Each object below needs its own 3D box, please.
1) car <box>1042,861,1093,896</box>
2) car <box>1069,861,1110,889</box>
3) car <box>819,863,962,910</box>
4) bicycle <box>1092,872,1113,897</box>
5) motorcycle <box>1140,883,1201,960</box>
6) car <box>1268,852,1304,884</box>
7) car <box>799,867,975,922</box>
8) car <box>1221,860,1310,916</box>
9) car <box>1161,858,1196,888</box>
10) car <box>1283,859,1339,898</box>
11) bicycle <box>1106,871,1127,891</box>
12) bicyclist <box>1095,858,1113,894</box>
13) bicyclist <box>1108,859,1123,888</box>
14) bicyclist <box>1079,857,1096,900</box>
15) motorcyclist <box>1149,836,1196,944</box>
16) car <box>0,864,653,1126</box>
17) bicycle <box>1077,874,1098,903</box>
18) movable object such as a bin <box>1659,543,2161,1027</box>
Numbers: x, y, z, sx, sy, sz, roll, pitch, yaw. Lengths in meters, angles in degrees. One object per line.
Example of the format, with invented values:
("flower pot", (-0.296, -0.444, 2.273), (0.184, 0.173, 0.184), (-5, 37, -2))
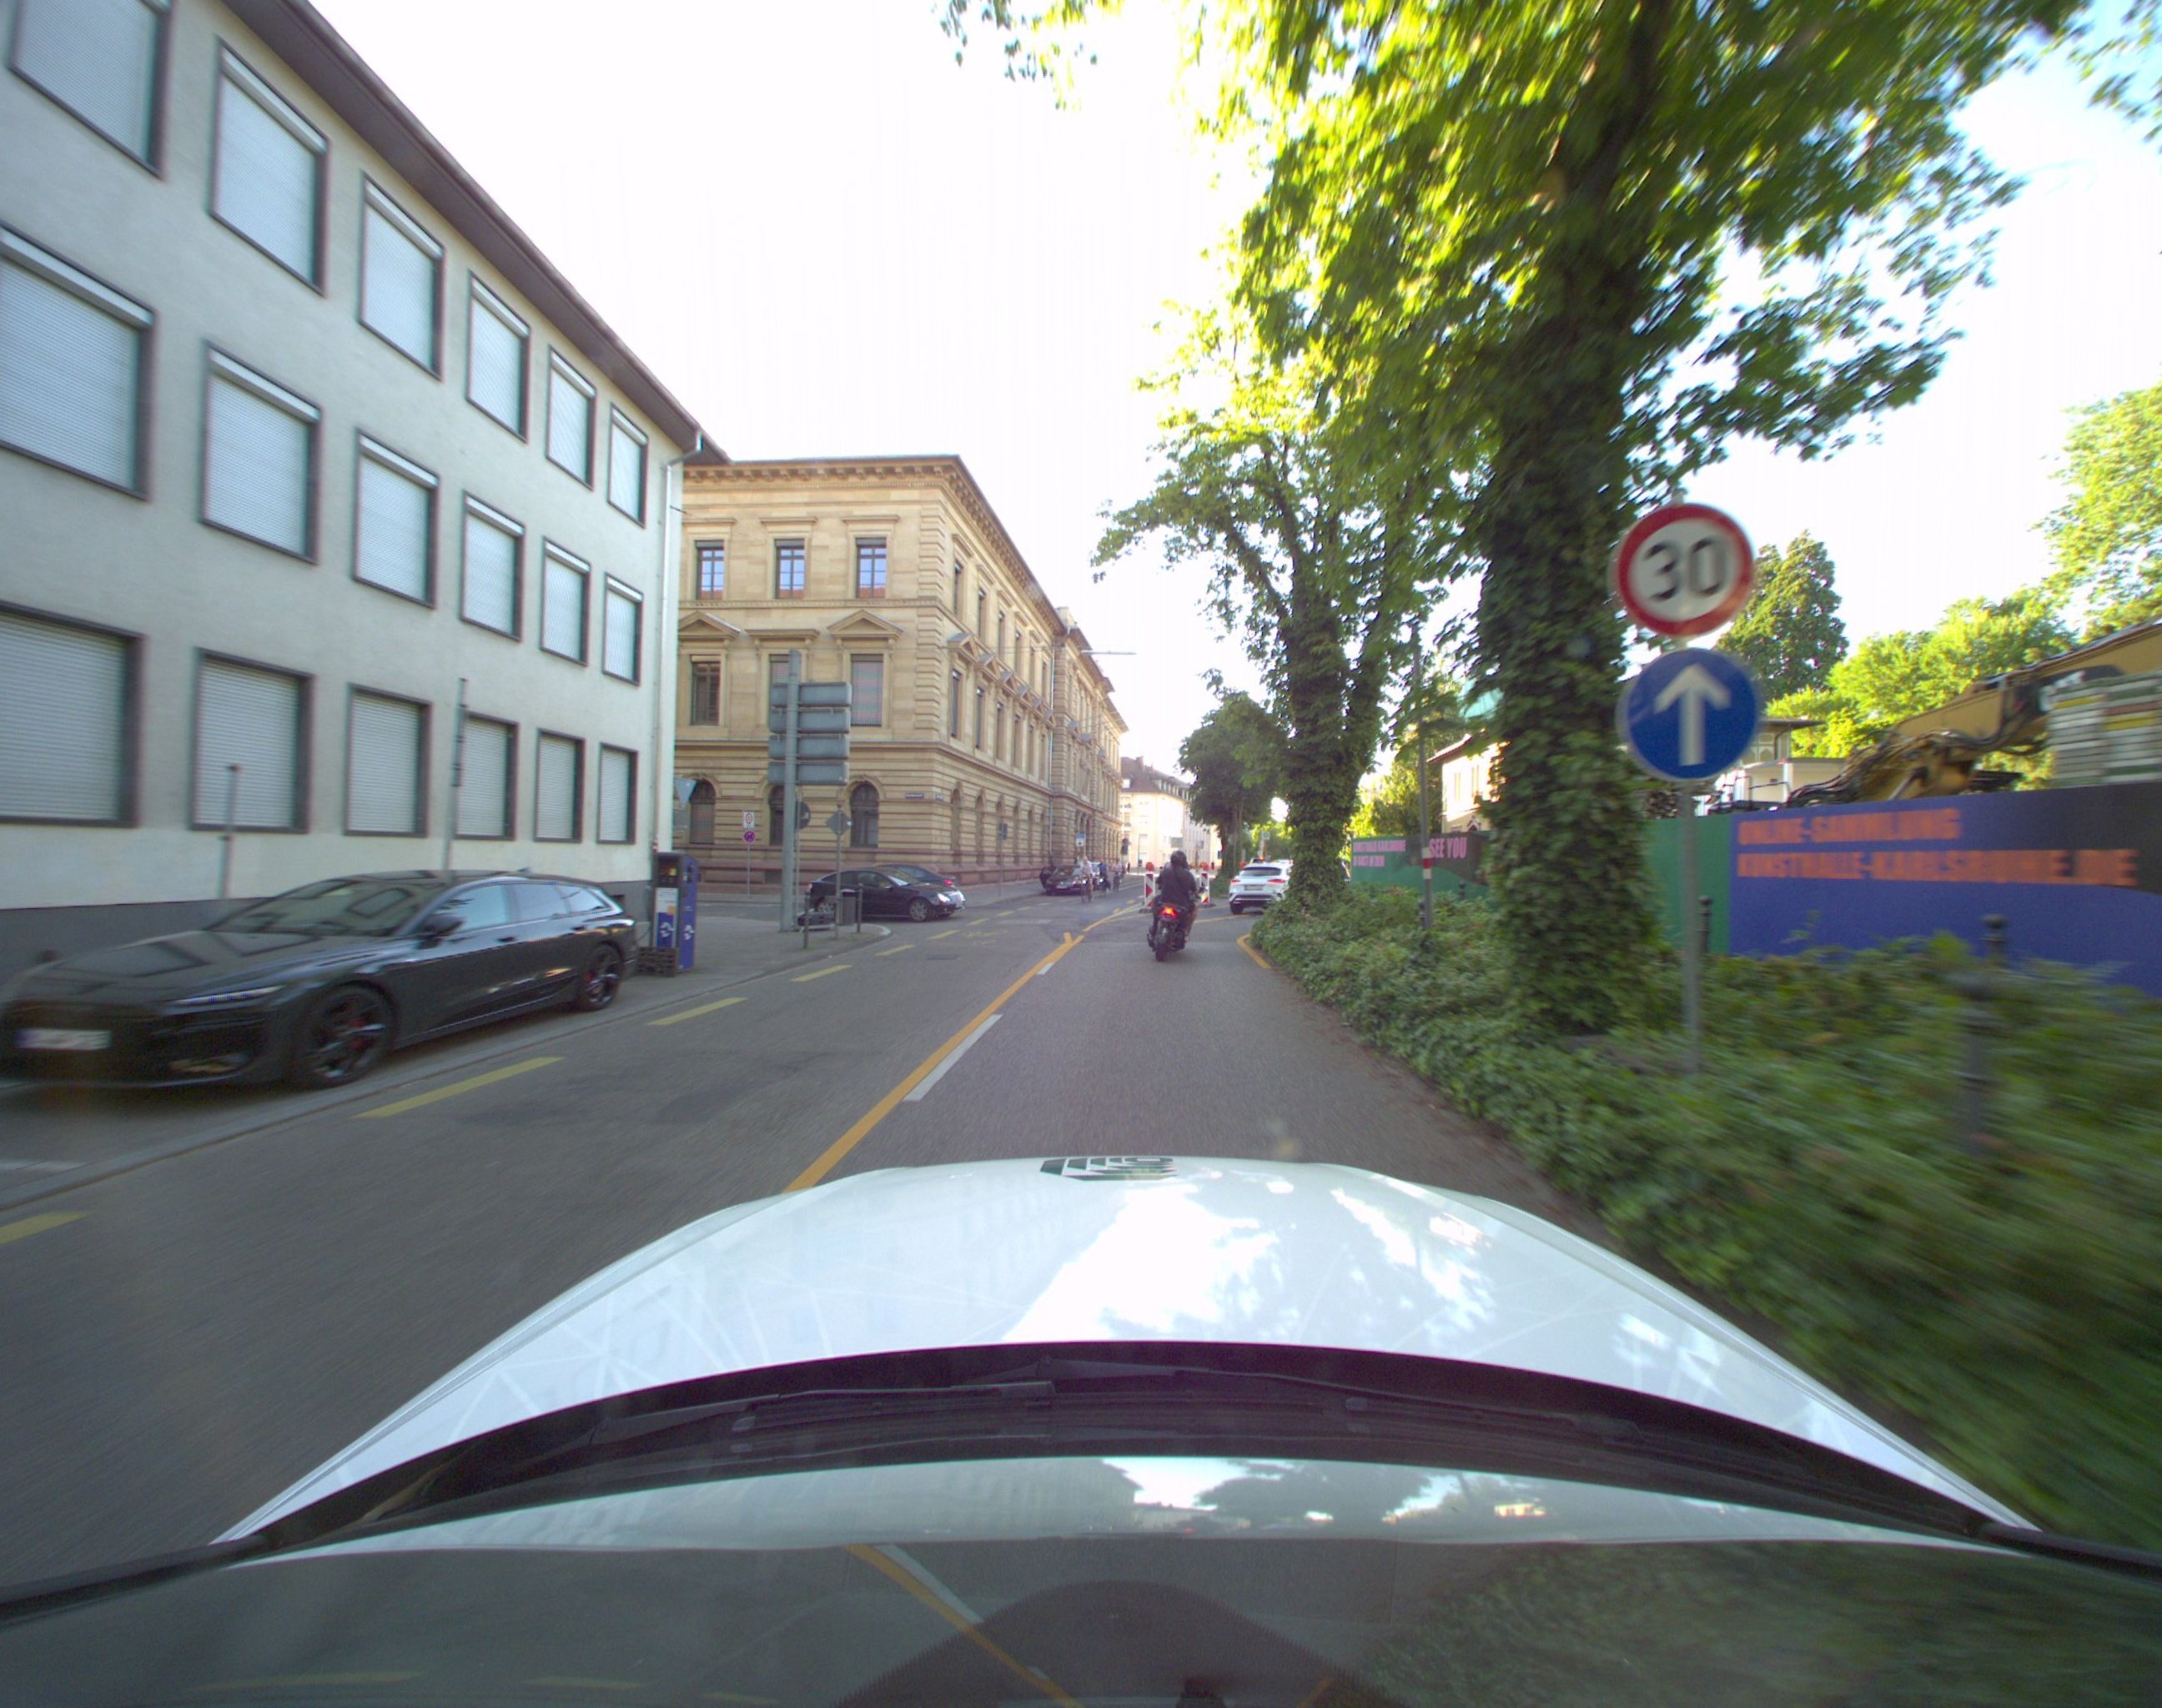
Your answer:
("car", (-0.576, 1.137, 39.192), (1.984, 1.567, 4.295), (0, 0, 6))
("car", (0.543, 1.154, 46.514), (1.984, 1.528, 4.191), (0, 0, 5))
("car", (-6.276, 1.049, 27.093), (4.459, 1.461, 1.768), (0, 0, -13))
("bicycle", (0.993, 1.383, 37.245), (0.529, 1.035, 1.915), (0, 0, 16))
("motorcycle", (1.465, 1.035, 13.042), (0.791, 1.066, 1.730), (2, 0, 11))
("car", (13.110, 0.888, 52.188), (1.829, 1.912, 4.067), (2, 0, 9))
("car", (-5.237, 1.067, 22.215), (4.286, 1.390, 1.781), (0, 0, 10))
("car", (5.635, 0.956, 24.538), (1.834, 1.480, 4.080), (-1, 0, 24))
("car", (5.853, 1.097, 49.145), (1.984, 1.695, 4.406), (0, 0, 6))
("car", (9.531, 0.987, 34.034), (1.829, 1.464, 4.068), (2, 0, 10))
("bicycle", (1.926, 1.426, 43.730), (0.528, 1.035, 2.046), (0, 0, 21))
("bicyclist", (1.065, 1.012, 37.306), (0.623, 1.613, 0.873), (0, -1, 16))
("bicyclist", (1.867, 1.020, 43.698), (0.623, 1.554, 0.736), (0, -1, 21))
("bicyclist", (0.252, 0.939, 31.783), (0.563, 1.667, 0.836), (0, -1, 8))
("motorcyclist", (1.476, 0.563, 13.069), (0.653, 1.650, 0.652), (2, -1, 11))
("car", (-6.122, 0.894, 7.377), (1.817, 1.503, 4.761), (2, 0, 1))
("bicycle", (0.256, 1.316, 31.766), (0.580, 1.035, 2.133), (0, 0, 7))
("movable object such as a bin", (12.027, -0.627, 10.985), (3.292, 4.539, 7.913), (0, 0, 4))
